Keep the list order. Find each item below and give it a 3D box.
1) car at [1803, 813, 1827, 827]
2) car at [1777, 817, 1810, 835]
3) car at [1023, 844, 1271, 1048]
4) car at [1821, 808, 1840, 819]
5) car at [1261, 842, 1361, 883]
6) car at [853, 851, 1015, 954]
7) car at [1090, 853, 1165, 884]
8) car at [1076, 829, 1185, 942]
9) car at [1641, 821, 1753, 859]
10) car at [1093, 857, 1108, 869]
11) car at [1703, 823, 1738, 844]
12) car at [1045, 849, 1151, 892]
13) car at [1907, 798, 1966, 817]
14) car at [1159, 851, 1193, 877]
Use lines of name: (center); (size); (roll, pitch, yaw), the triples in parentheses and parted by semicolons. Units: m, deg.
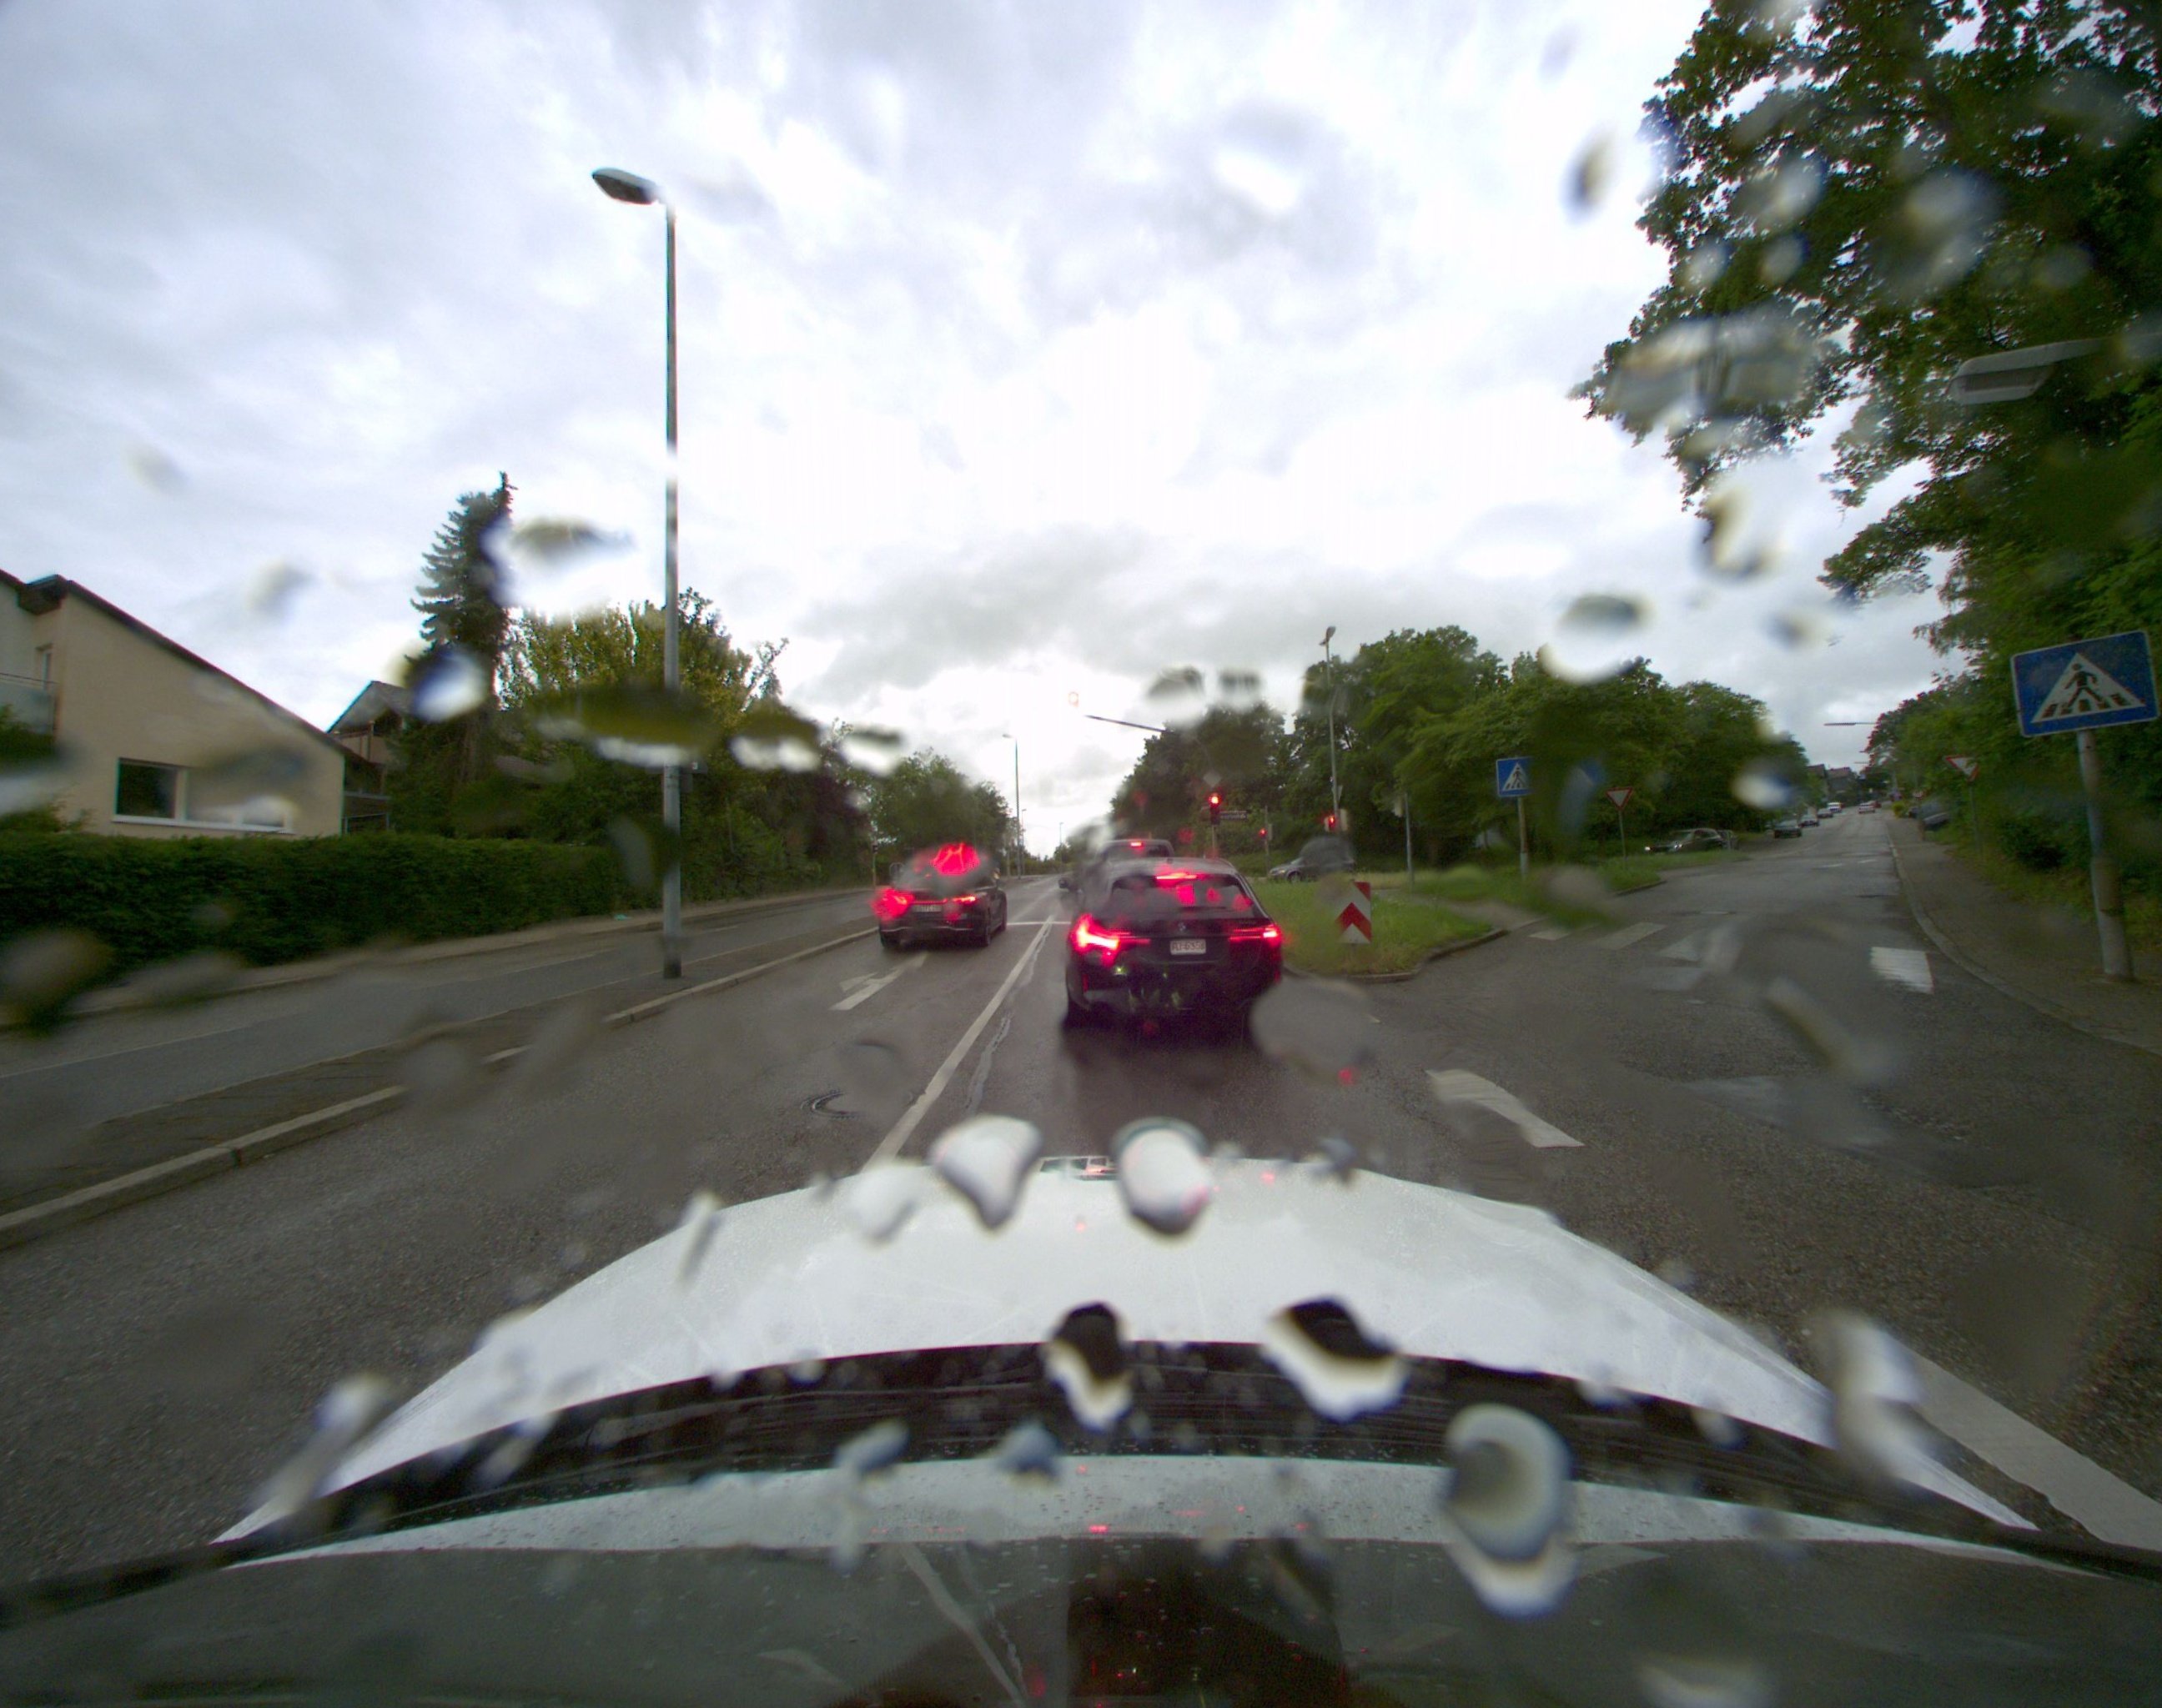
car: (88.181, -4.094, 97.860); (1.971, 1.446, 4.321); (-2, -1, 40)
car: (66.273, -2.554, 75.707); (4.318, 1.450, 1.881); (0, -1, -44)
car: (0.714, 0.757, 8.592); (1.889, 1.551, 4.621); (-1, -1, 5)
car: (114.448, -6.128, 124.409); (1.880, 1.397, 4.193); (-2, -1, 40)
car: (10.530, 0.375, 37.421); (4.016, 1.602, 1.743); (-3, 0, -8)
car: (-2.530, 0.795, 15.189); (1.986, 1.527, 4.330); (-4, -1, 2)
car: (2.441, 0.762, 42.825); (3.468, 1.427, 1.714); (-4, 0, 32)
car: (0.910, 0.550, 15.706); (1.811, 1.868, 3.954); (-1, -1, 2)
car: (32.643, -0.725, 43.192); (4.700, 1.717, 1.994); (-3, 0, -9)
car: (2.801, 1.243, 114.527); (1.986, 1.624, 3.954); (-4, -1, 2)
car: (46.022, -1.509, 58.571); (1.655, 1.370, 3.512); (-3, 0, 43)
car: (0.696, 0.678, 34.234); (4.001, 1.509, 1.888); (-3, 0, -20)
car: (87.605, -4.729, 83.503); (3.949, 1.574, 1.785); (-4, -1, 42)
car: (6.331, 0.681, 54.670); (1.866, 1.543, 3.954); (-4, -1, 2)
